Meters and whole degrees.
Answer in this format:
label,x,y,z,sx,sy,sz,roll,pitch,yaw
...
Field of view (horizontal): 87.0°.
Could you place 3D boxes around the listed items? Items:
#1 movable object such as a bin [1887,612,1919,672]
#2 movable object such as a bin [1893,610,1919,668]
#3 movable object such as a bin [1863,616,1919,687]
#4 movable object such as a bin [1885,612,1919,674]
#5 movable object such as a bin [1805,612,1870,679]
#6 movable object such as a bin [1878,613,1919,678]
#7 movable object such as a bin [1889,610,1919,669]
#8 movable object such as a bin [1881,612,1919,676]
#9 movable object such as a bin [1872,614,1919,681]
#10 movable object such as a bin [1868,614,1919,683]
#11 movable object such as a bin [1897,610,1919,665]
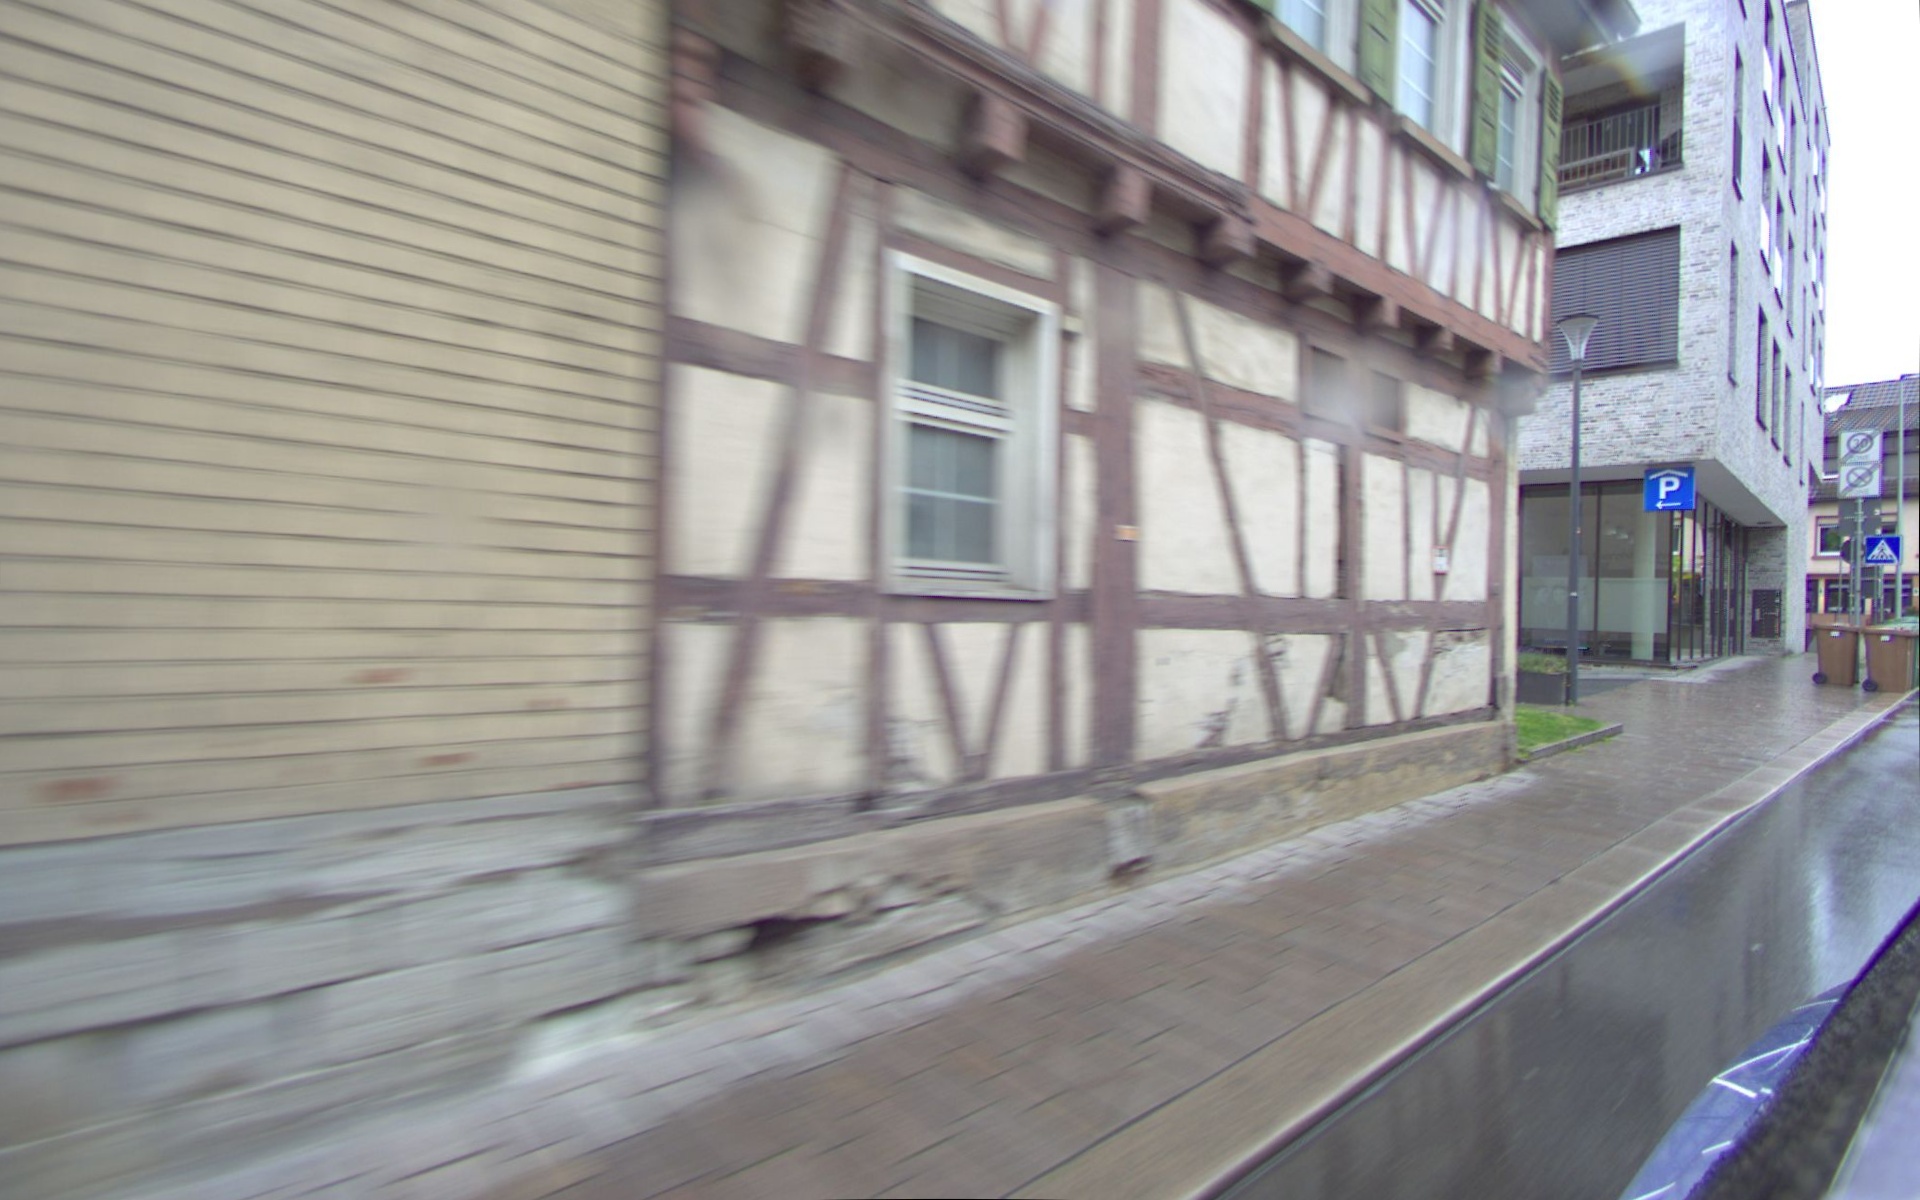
label,x,y,z,sx,sy,sz,roll,pitch,yaw
movable object such as a bin,18.177,0.798,19.226,0.571,1.109,0.767,0,2,-42
movable object such as a bin,19.032,0.778,20.026,0.571,1.109,0.767,0,2,-42
movable object such as a bin,15.452,0.834,16.686,0.571,1.109,0.767,0,2,-42
movable object such as a bin,17.756,0.806,18.813,0.571,1.109,0.767,0,2,-42
movable object such as a bin,15.276,0.776,17.619,0.616,1.109,0.767,0,2,-43
movable object such as a bin,16.893,0.804,18.004,0.571,1.109,0.767,0,2,-42
movable object such as a bin,18.594,0.773,19.626,0.571,1.109,0.767,0,2,-42
movable object such as a bin,17.315,0.800,18.406,0.571,1.109,0.767,0,2,-42
movable object such as a bin,16.429,0.814,17.607,0.571,1.109,0.767,0,2,-42
movable object such as a bin,16.005,0.821,17.207,0.571,1.109,0.767,0,2,-42
movable object such as a bin,19.854,0.769,20.907,0.542,1.109,0.663,0,2,-44
